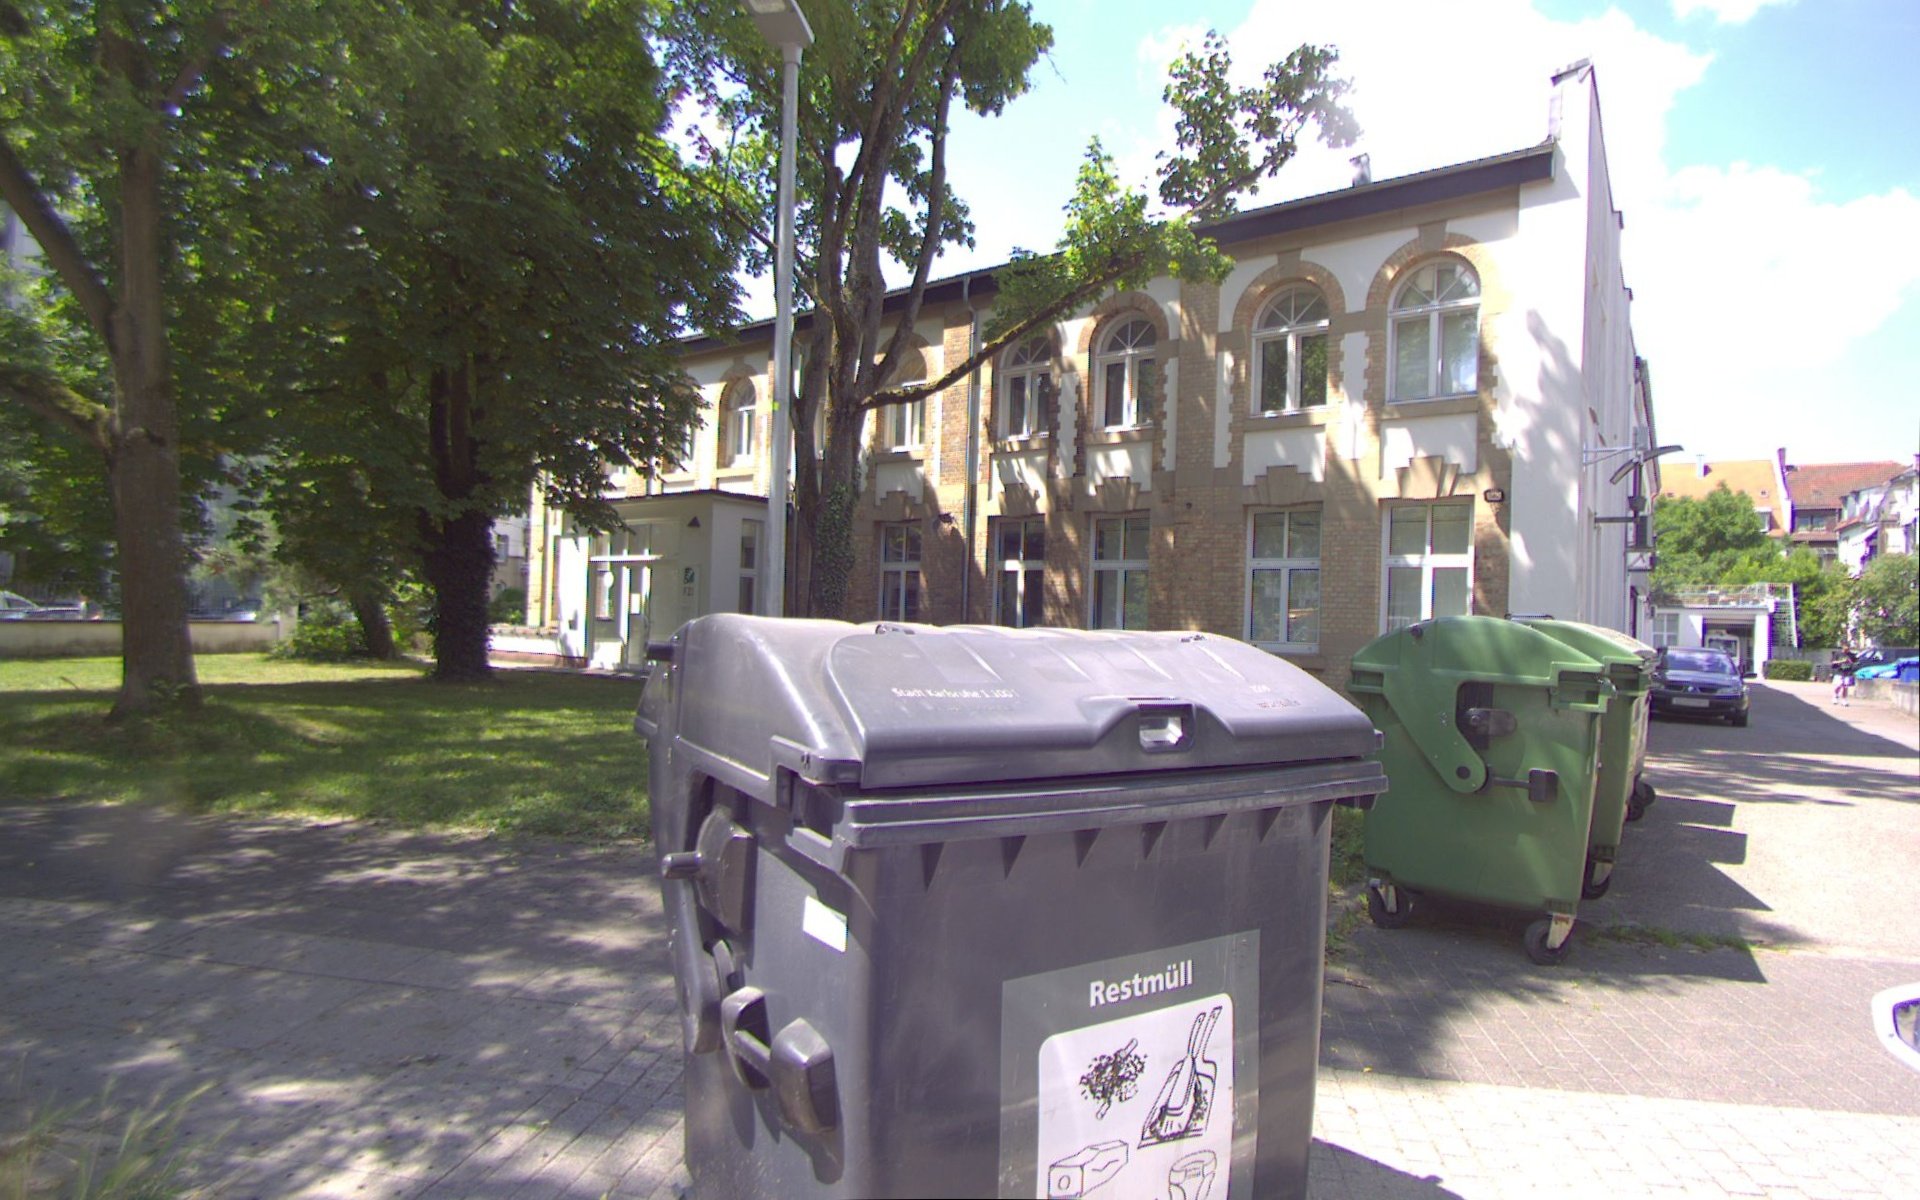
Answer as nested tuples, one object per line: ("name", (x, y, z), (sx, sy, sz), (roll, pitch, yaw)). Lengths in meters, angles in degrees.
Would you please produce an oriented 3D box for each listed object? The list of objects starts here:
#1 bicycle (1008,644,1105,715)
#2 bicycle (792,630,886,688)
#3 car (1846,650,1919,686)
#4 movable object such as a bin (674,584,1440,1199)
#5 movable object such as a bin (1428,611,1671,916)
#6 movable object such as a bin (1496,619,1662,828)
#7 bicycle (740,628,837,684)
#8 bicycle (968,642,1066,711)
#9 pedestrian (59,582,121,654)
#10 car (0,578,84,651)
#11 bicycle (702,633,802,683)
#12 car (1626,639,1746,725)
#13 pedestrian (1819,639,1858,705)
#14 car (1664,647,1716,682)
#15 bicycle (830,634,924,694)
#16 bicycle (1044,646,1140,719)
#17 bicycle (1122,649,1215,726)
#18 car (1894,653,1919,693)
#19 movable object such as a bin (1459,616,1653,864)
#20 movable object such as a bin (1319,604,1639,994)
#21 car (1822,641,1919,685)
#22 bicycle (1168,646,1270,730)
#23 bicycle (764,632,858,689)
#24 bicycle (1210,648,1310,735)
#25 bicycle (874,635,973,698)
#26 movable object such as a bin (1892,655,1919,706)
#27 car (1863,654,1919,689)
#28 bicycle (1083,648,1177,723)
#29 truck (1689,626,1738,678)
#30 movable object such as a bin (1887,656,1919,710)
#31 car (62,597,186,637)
("bicycle", (1.609, 1.248, 16.274), (0.597, 1.025, 2.254), (1, -1, 32))
("bicycle", (-2.275, 1.104, 19.238), (0.596, 1.025, 2.256), (1, -1, 28))
("car", (43.561, 3.153, 46.231), (3.933, 1.554, 1.799), (1, -2, 35))
("movable object such as a bin", (0.137, 0.709, 2.097), (1.147, 1.412, 1.107), (2, -1, -31))
("movable object such as a bin", (3.337, 0.837, 5.848), (1.076, 1.499, 1.359), (1, -1, 26))
("movable object such as a bin", (5.046, 0.924, 8.153), (1.031, 1.499, 1.405), (1, -1, 36))
("bicycle", (-3.358, 1.083, 19.924), (0.621, 1.025, 2.257), (1, -1, 28))
("bicycle", (0.990, 1.229, 16.691), (0.597, 1.025, 2.254), (1, -1, 32))
("pedestrian", (-19.492, 0.401, 22.521), (0.683, 1.588, 0.744), (2, 0, 6))
("car", (-26.354, 0.365, 27.114), (1.488, 1.879, 4.003), (5, -1, 7))
("bicycle", (-4.136, 1.138, 20.184), (0.643, 0.902, 2.256), (1, -1, 28))
("car", (14.429, 1.531, 19.965), (1.732, 1.449, 4.370), (1, -1, 37))
("pedestrian", (24.477, 1.979, 27.996), (0.747, 1.778, 0.749), (1, -1, 37))
("car", (33.045, 2.884, 45.540), (1.774, 1.408, 3.988), (1, -2, 35))
("bicycle", (-1.503, 1.156, 18.672), (0.596, 1.025, 2.256), (1, -1, 28))
("bicycle", (2.125, 1.266, 15.892), (0.597, 1.025, 2.254), (1, -1, 32))
("bicycle", (3.176, 1.274, 15.118), (0.597, 1.025, 2.254), (1, -1, 32))
("car", (38.347, 2.840, 38.167), (3.933, 1.498, 1.799), (1, -2, 35))
("movable object such as a bin", (4.154, 0.879, 6.963), (1.031, 1.499, 1.257), (1, -1, 36))
("movable object such as a bin", (2.495, 0.797, 4.792), (1.187, 1.499, 1.322), (1, -1, 33))
("car", (45.124, 3.033, 48.852), (4.615, 1.984, 2.070), (1, -2, 35))
("bicycle", (3.852, 1.252, 14.788), (0.598, 1.096, 2.251), (1, -1, 37))
("bicycle", (-2.854, 1.145, 19.533), (0.559, 1.024, 2.256), (1, -1, 28))
("bicycle", (4.333, 1.263, 14.375), (0.598, 1.096, 2.251), (1, -1, 37))
("bicycle", (-0.611, 1.163, 18.053), (0.597, 1.025, 2.254), (1, -1, 32))
("movable object such as a bin", (26.370, 2.215, 27.439), (1.176, 1.344, 1.157), (1, -1, 34))
("car", (42.043, 3.139, 43.658), (3.933, 1.408, 1.799), (1, -2, 35))
("bicycle", (2.662, 1.274, 15.514), (0.597, 1.025, 2.254), (1, -1, 32))
("truck", (45.095, 3.087, 60.195), (1.762, 2.976, 4.644), (1, -1, 31))
("movable object such as a bin", (25.140, 2.164, 26.202), (1.322, 1.344, 1.156), (0, -2, 39))
("car", (-35.902, 0.738, 43.290), (3.967, 1.405, 1.731), (6, -2, -39))
